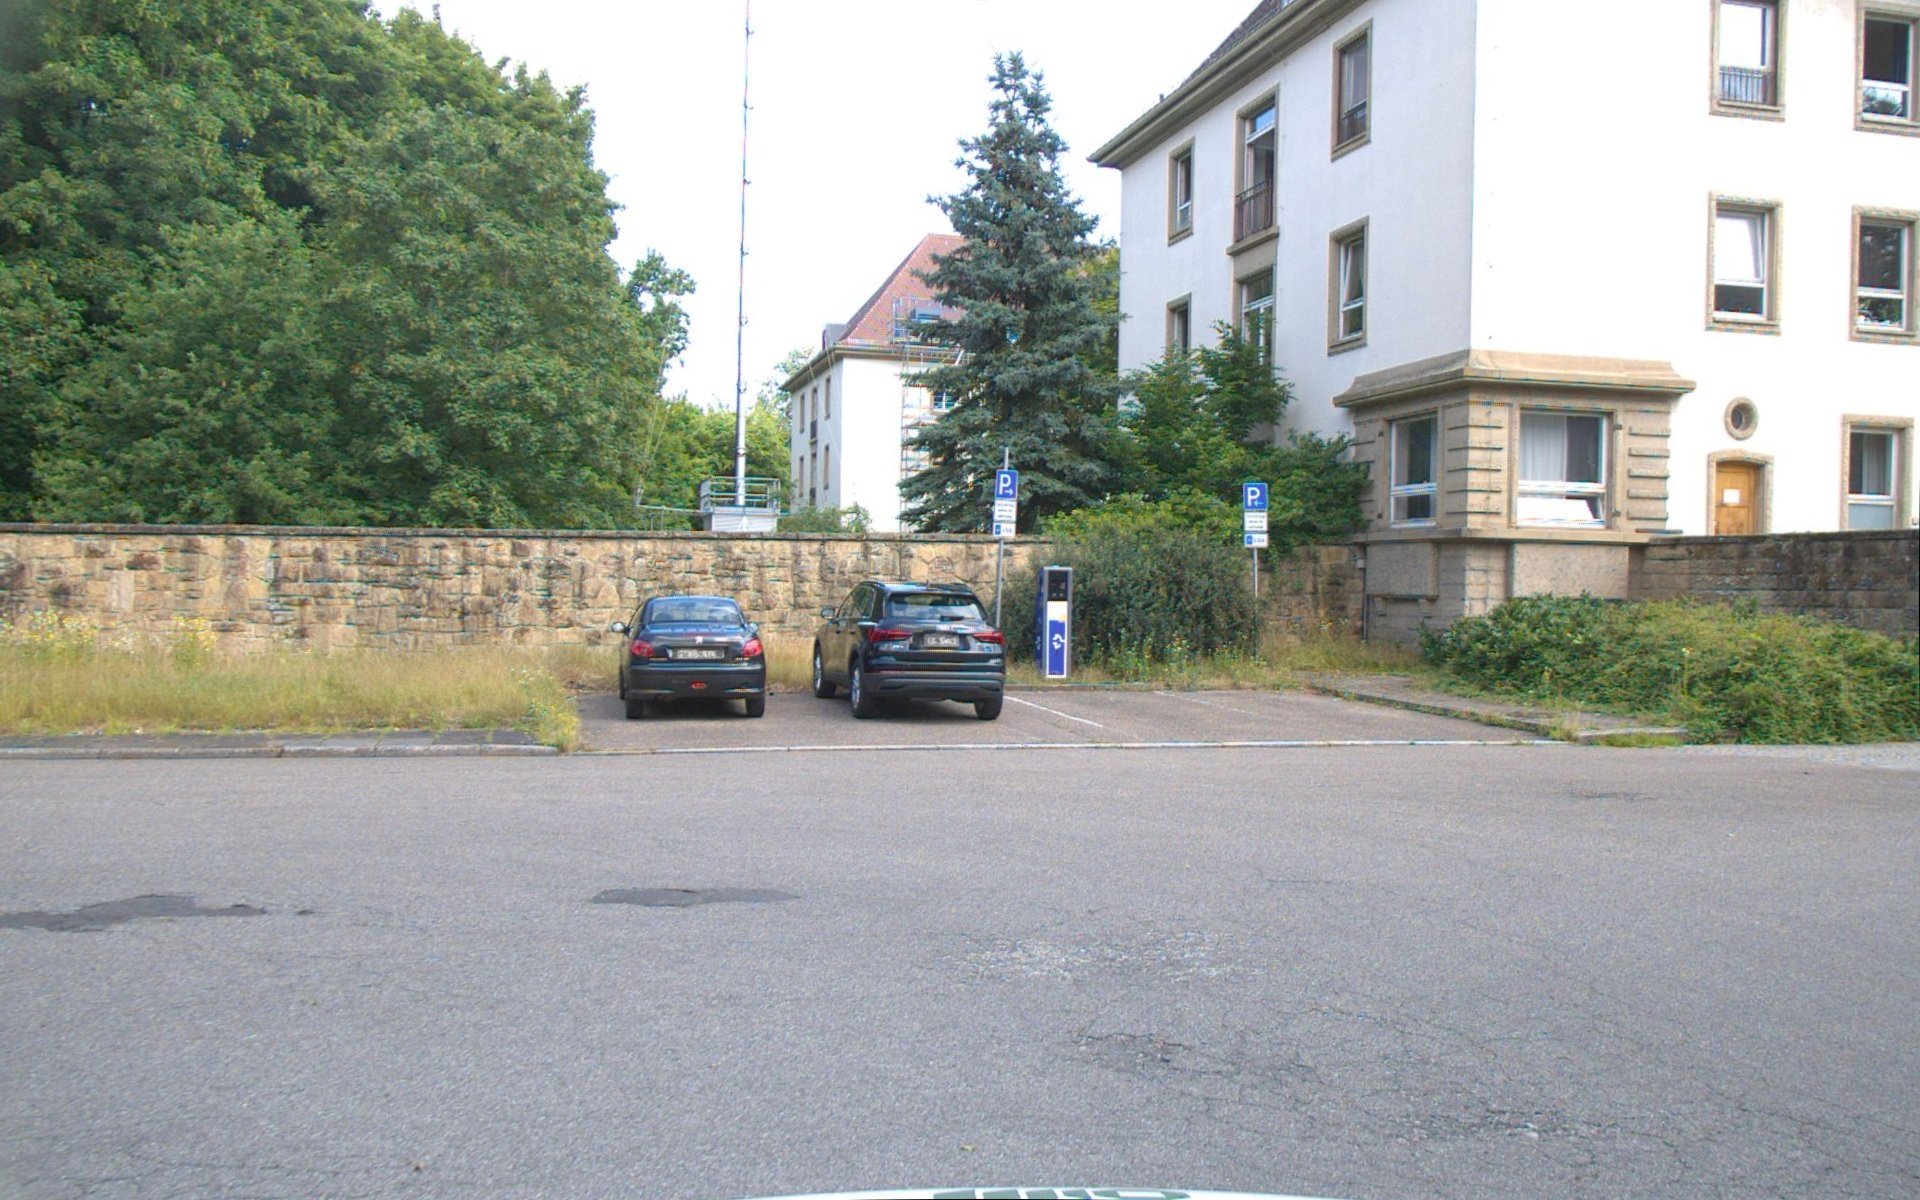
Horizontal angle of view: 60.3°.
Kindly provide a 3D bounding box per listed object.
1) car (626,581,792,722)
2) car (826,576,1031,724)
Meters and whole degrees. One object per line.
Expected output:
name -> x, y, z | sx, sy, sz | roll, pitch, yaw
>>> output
car -> -3.218, 0.556, 20.640 | 1.840, 1.466, 3.990 | 0, 2, -11
car -> -0.508, 0.538, 20.748 | 1.860, 1.573, 3.989 | 0, 2, -12
